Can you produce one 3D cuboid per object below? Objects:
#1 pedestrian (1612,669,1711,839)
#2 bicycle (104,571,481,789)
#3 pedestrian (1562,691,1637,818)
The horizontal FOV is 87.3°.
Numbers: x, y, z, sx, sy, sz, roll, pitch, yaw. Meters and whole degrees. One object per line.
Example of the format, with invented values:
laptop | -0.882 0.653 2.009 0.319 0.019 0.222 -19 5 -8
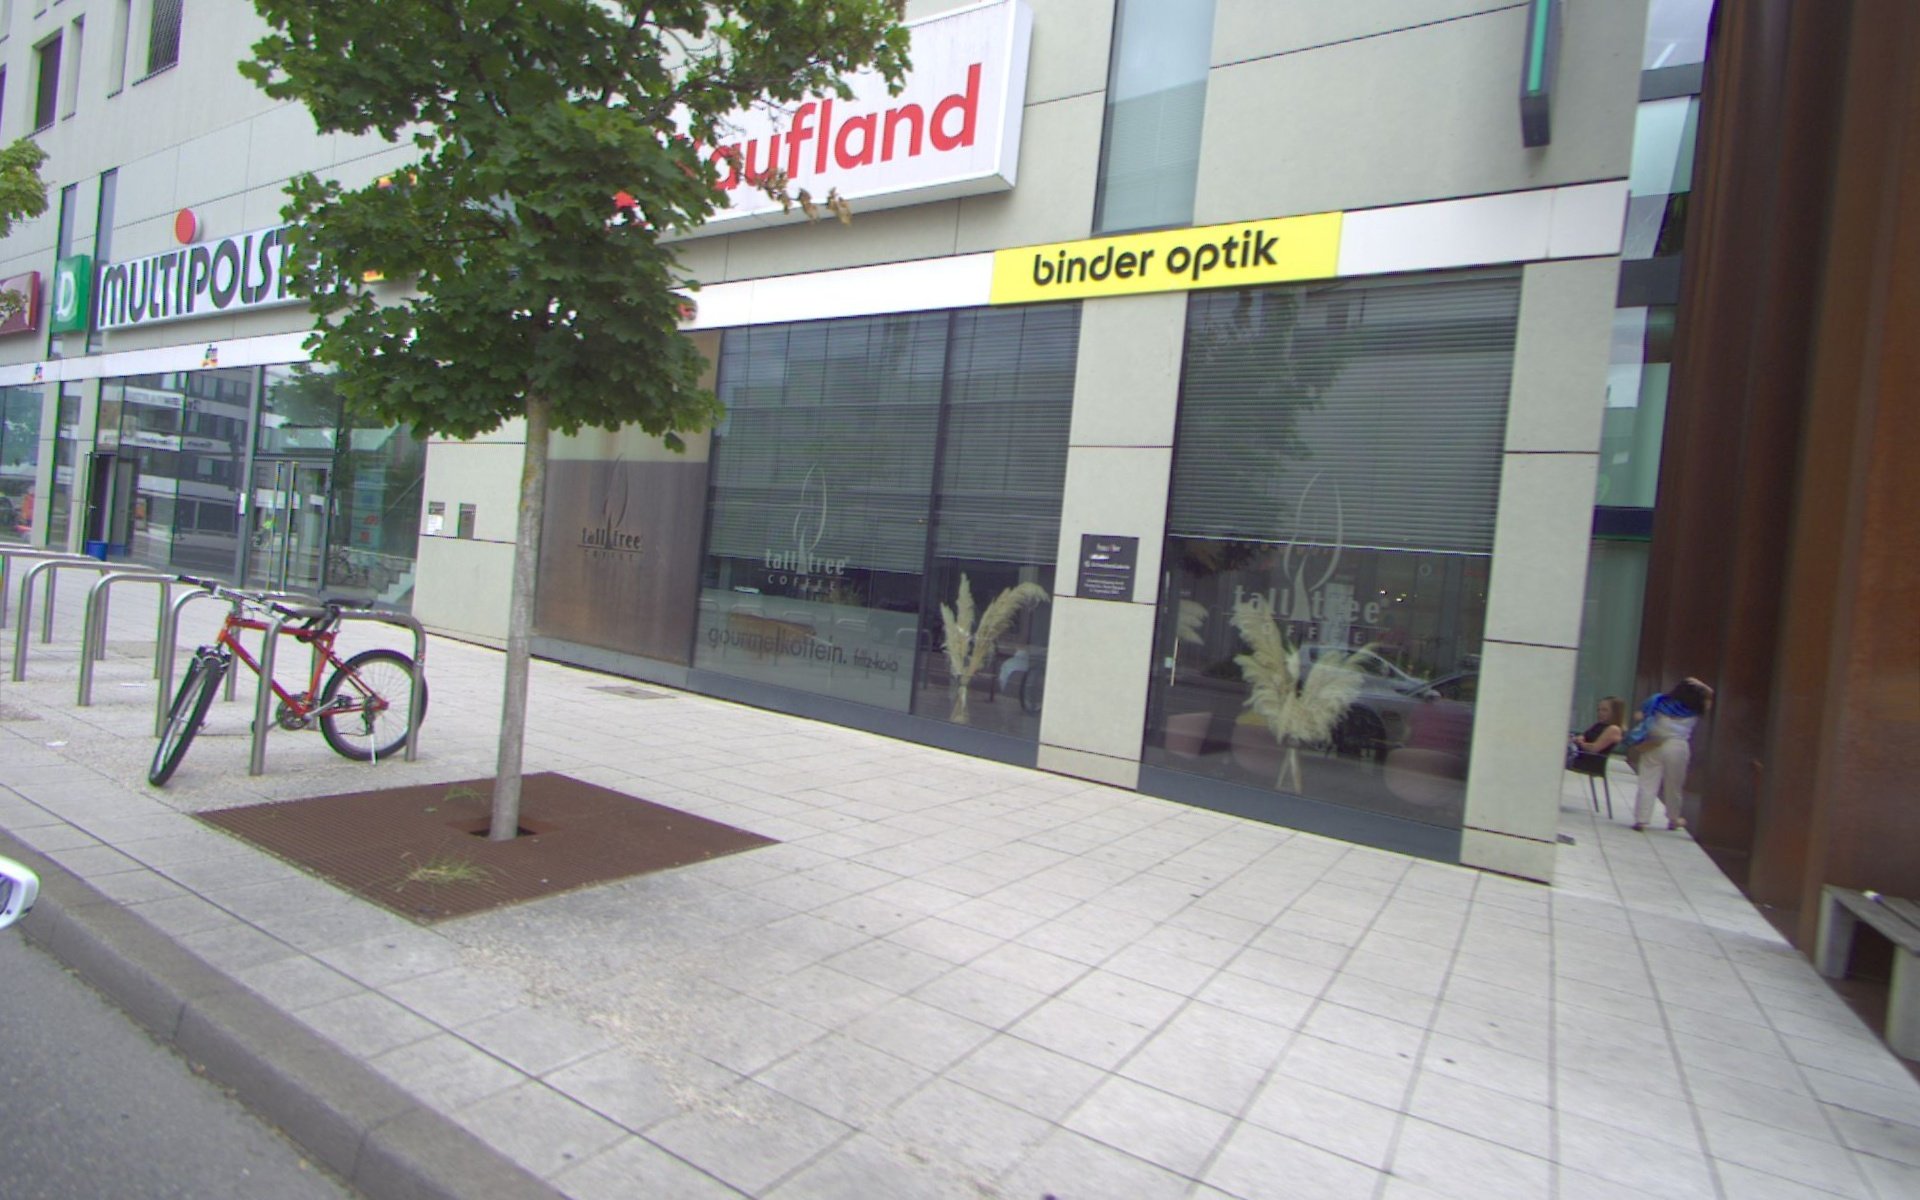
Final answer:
pedestrian | 6.685 1.444 9.621 0.596 1.487 0.646 7 1 32
bicycle | -3.711 0.435 5.714 0.740 1.005 1.561 7 0 35
pedestrian | 6.553 1.561 10.305 0.516 1.200 0.504 7 1 34
